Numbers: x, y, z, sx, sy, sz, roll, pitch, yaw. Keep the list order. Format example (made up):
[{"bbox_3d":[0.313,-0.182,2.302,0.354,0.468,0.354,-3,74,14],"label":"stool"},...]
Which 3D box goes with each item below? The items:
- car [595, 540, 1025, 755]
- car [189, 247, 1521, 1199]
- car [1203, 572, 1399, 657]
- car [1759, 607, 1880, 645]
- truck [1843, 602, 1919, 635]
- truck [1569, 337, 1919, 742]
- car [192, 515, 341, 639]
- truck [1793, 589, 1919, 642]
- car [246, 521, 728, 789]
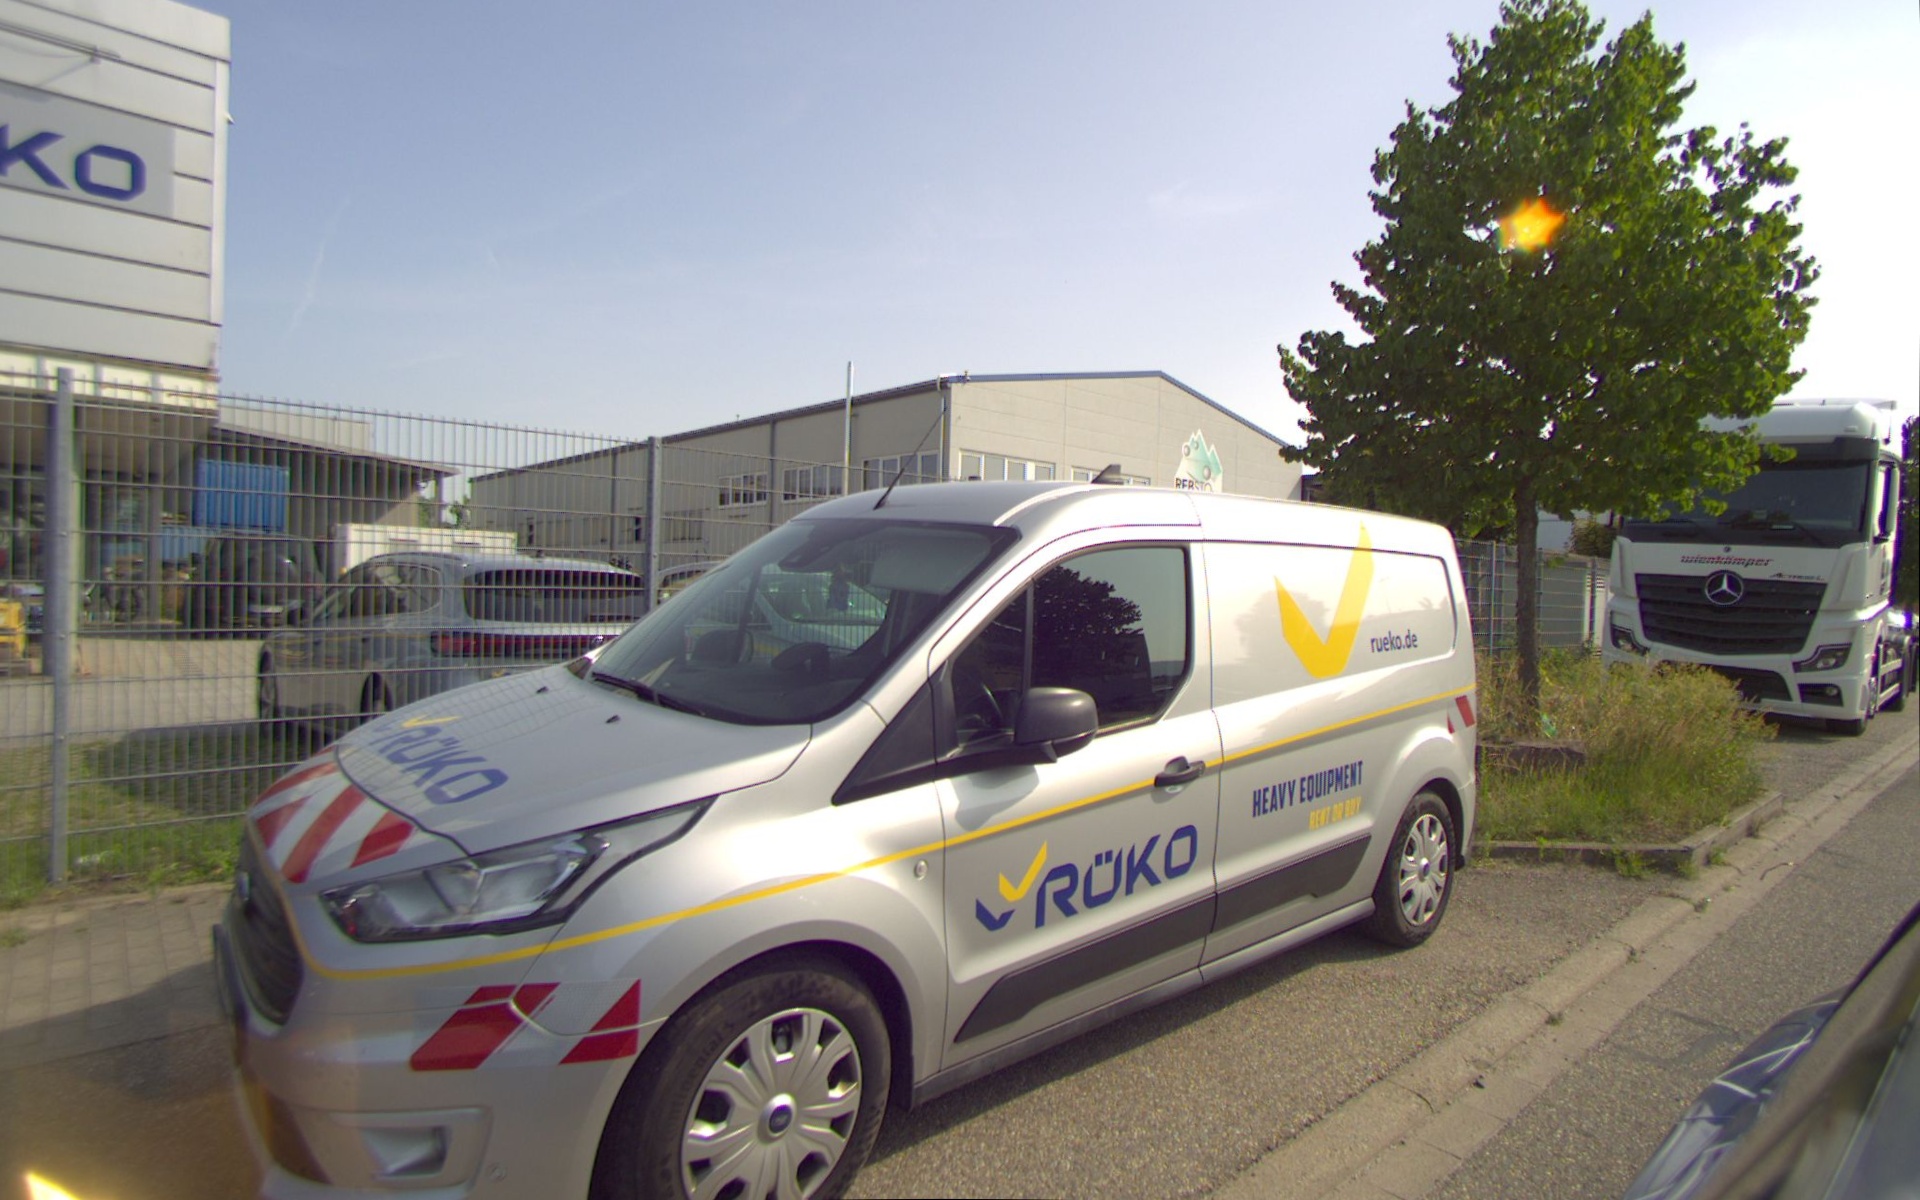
[{"bbox_3d":[-1.507,0.276,9.079,3.989,1.496,1.762,3,1,45],"label":"car"},{"bbox_3d":[0.064,0.361,3.707,4.518,1.812,1.998,0,1,-40],"label":"car"},{"bbox_3d":[8.197,0.281,24.567,1.879,1.858,4.096,1,1,-42],"label":"car"},{"bbox_3d":[39.041,1.133,46.110,1.860,1.516,4.005,2,1,-6],"label":"car"},{"bbox_3d":[63.596,1.257,68.488,2.231,2.047,5.837,2,1,-4],"label":"truck"},{"bbox_3d":[11.941,-0.620,14.401,9.518,4.064,2.751,1,3,-42],"label":"truck"},{"bbox_3d":[-12.956,-0.417,18.787,1.861,2.027,4.366,2,0,-40],"label":"car"},{"bbox_3d":[48.227,0.771,53.700,2.229,2.562,6.223,2,1,-9],"label":"truck"},{"bbox_3d":[-3.564,0.228,7.262,3.986,1.388,1.763,2,1,43],"label":"car"}]
